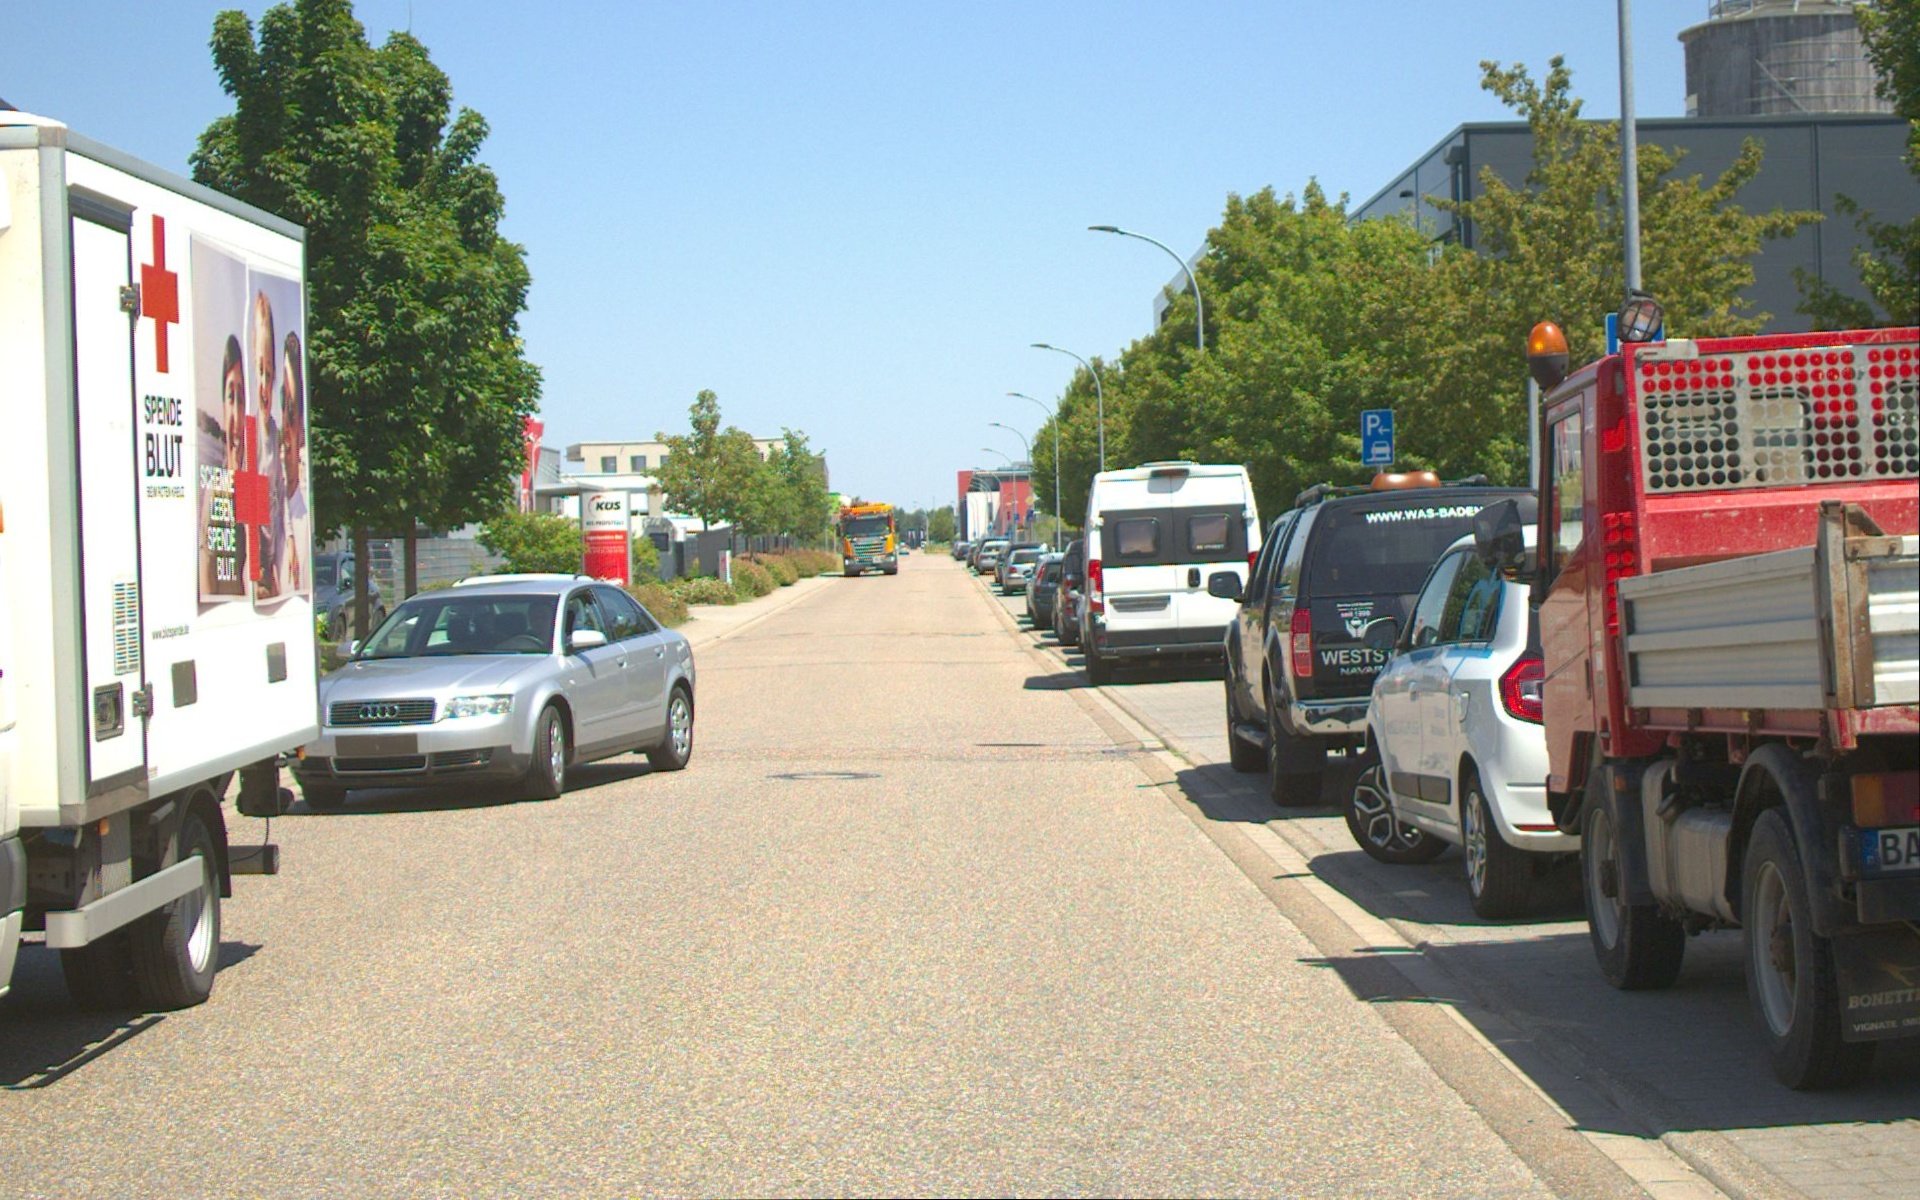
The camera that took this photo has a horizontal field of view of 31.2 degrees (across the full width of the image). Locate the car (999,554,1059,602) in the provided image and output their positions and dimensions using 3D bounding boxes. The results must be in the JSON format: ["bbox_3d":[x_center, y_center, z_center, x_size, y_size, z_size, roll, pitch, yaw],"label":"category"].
[{"bbox_3d":[2.157,-0.707,108.353,1.718,1.445,3.646,-2,1,-1],"label":"car"}]

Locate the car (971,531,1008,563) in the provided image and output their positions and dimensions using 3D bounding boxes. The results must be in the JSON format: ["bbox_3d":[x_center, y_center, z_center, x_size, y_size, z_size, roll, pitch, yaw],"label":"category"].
[{"bbox_3d":[1.311,-2.393,155.511,1.585,1.405,3.500,-1,1,-1],"label":"car"}]

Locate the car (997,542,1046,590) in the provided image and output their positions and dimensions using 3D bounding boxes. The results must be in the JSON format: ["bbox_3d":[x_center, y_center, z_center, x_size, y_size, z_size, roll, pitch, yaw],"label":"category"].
[{"bbox_3d":[2.255,-1.272,126.357,1.722,1.688,3.984,-1,1,0],"label":"car"}]

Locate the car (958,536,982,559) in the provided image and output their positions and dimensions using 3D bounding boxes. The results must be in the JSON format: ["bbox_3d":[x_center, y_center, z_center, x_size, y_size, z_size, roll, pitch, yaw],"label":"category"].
[{"bbox_3d":[0.626,-3.382,220.138,1.495,1.405,3.500,-1,1,-1],"label":"car"}]

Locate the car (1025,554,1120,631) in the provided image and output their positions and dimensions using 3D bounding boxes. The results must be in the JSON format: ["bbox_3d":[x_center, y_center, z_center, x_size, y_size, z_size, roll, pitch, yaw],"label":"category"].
[{"bbox_3d":[2.372,-0.172,71.507,1.709,1.499,4.705,-2,0,5],"label":"car"}]

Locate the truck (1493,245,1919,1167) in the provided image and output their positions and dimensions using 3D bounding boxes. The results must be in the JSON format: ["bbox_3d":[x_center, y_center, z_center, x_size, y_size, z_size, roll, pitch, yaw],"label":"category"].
[{"bbox_3d":[2.867,0.185,10.352,1.679,2.174,4.390,-3,1,-1],"label":"truck"}]

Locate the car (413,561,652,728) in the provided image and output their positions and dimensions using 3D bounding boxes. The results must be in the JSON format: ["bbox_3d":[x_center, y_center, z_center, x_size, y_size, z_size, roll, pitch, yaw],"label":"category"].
[{"bbox_3d":[-3.992,0.372,32.737,1.730,1.453,4.492,-1,1,-1],"label":"car"}]

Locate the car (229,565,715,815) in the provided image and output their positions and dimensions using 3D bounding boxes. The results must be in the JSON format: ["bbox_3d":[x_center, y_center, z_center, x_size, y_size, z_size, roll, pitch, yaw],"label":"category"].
[{"bbox_3d":[-3.201,0.546,23.535,1.784,1.417,4.411,-3,1,13],"label":"car"}]

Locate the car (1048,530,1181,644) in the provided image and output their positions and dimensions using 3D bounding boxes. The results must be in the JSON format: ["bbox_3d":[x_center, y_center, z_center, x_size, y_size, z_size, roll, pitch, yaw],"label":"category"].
[{"bbox_3d":[2.620,-0.231,59.158,1.993,1.819,4.354,-2,0,-1],"label":"car"}]

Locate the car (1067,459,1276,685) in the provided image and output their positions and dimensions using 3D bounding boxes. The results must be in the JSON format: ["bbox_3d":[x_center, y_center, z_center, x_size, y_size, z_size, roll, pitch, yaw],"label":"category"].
[{"bbox_3d":[2.504,-0.364,42.167,2.267,2.489,6.152,-2,1,2],"label":"car"}]

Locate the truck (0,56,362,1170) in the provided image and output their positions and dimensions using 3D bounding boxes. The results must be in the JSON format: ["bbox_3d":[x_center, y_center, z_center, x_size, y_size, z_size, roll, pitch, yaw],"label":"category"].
[{"bbox_3d":[-3.637,0.038,10.416,2.361,2.850,6.415,-3,1,0],"label":"truck"}]

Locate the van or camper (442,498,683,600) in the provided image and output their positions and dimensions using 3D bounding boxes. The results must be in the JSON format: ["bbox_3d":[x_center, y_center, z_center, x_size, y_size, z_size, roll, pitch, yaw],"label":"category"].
[{"bbox_3d":[-12.702,-1.635,110.323,7.384,3.027,2.790,-1,1,-1],"label":"van or camper"}]

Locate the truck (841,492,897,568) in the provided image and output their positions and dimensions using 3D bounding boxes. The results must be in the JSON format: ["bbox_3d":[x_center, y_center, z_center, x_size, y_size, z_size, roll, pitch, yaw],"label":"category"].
[{"bbox_3d":[-4.368,-3.399,166.429,2.448,3.501,8.273,-3,1,-1],"label":"truck"}]

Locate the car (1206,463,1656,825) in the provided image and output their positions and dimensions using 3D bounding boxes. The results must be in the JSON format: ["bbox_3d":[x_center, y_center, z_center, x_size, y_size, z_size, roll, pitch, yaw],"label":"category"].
[{"bbox_3d":[2.733,0.206,21.175,1.993,1.878,5.156,-2,1,0],"label":"car"}]

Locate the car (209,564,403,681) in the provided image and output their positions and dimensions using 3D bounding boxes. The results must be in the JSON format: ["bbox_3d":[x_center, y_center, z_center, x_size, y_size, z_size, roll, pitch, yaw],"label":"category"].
[{"bbox_3d":[-10.667,0.322,56.417,1.994,1.729,4.913,0,2,3],"label":"car"}]

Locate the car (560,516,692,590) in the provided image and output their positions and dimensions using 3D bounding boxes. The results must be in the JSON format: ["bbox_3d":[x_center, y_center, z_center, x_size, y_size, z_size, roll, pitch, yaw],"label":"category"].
[{"bbox_3d":[-12.299,-1.743,126.656,4.714,2.577,2.000,-2,1,-4],"label":"car"}]

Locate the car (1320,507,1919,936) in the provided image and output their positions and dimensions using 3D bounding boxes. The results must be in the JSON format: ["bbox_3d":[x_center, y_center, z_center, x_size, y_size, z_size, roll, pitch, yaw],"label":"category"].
[{"bbox_3d":[2.749,0.435,15.006,1.738,1.525,4.000,-3,1,-2],"label":"car"}]

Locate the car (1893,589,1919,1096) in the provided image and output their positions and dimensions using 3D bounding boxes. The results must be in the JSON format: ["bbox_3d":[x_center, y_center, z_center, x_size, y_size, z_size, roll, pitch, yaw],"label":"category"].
[{"bbox_3d":[2.816,0.652,4.693,1.698,1.378,4.837,-3,1,0],"label":"car"}]
